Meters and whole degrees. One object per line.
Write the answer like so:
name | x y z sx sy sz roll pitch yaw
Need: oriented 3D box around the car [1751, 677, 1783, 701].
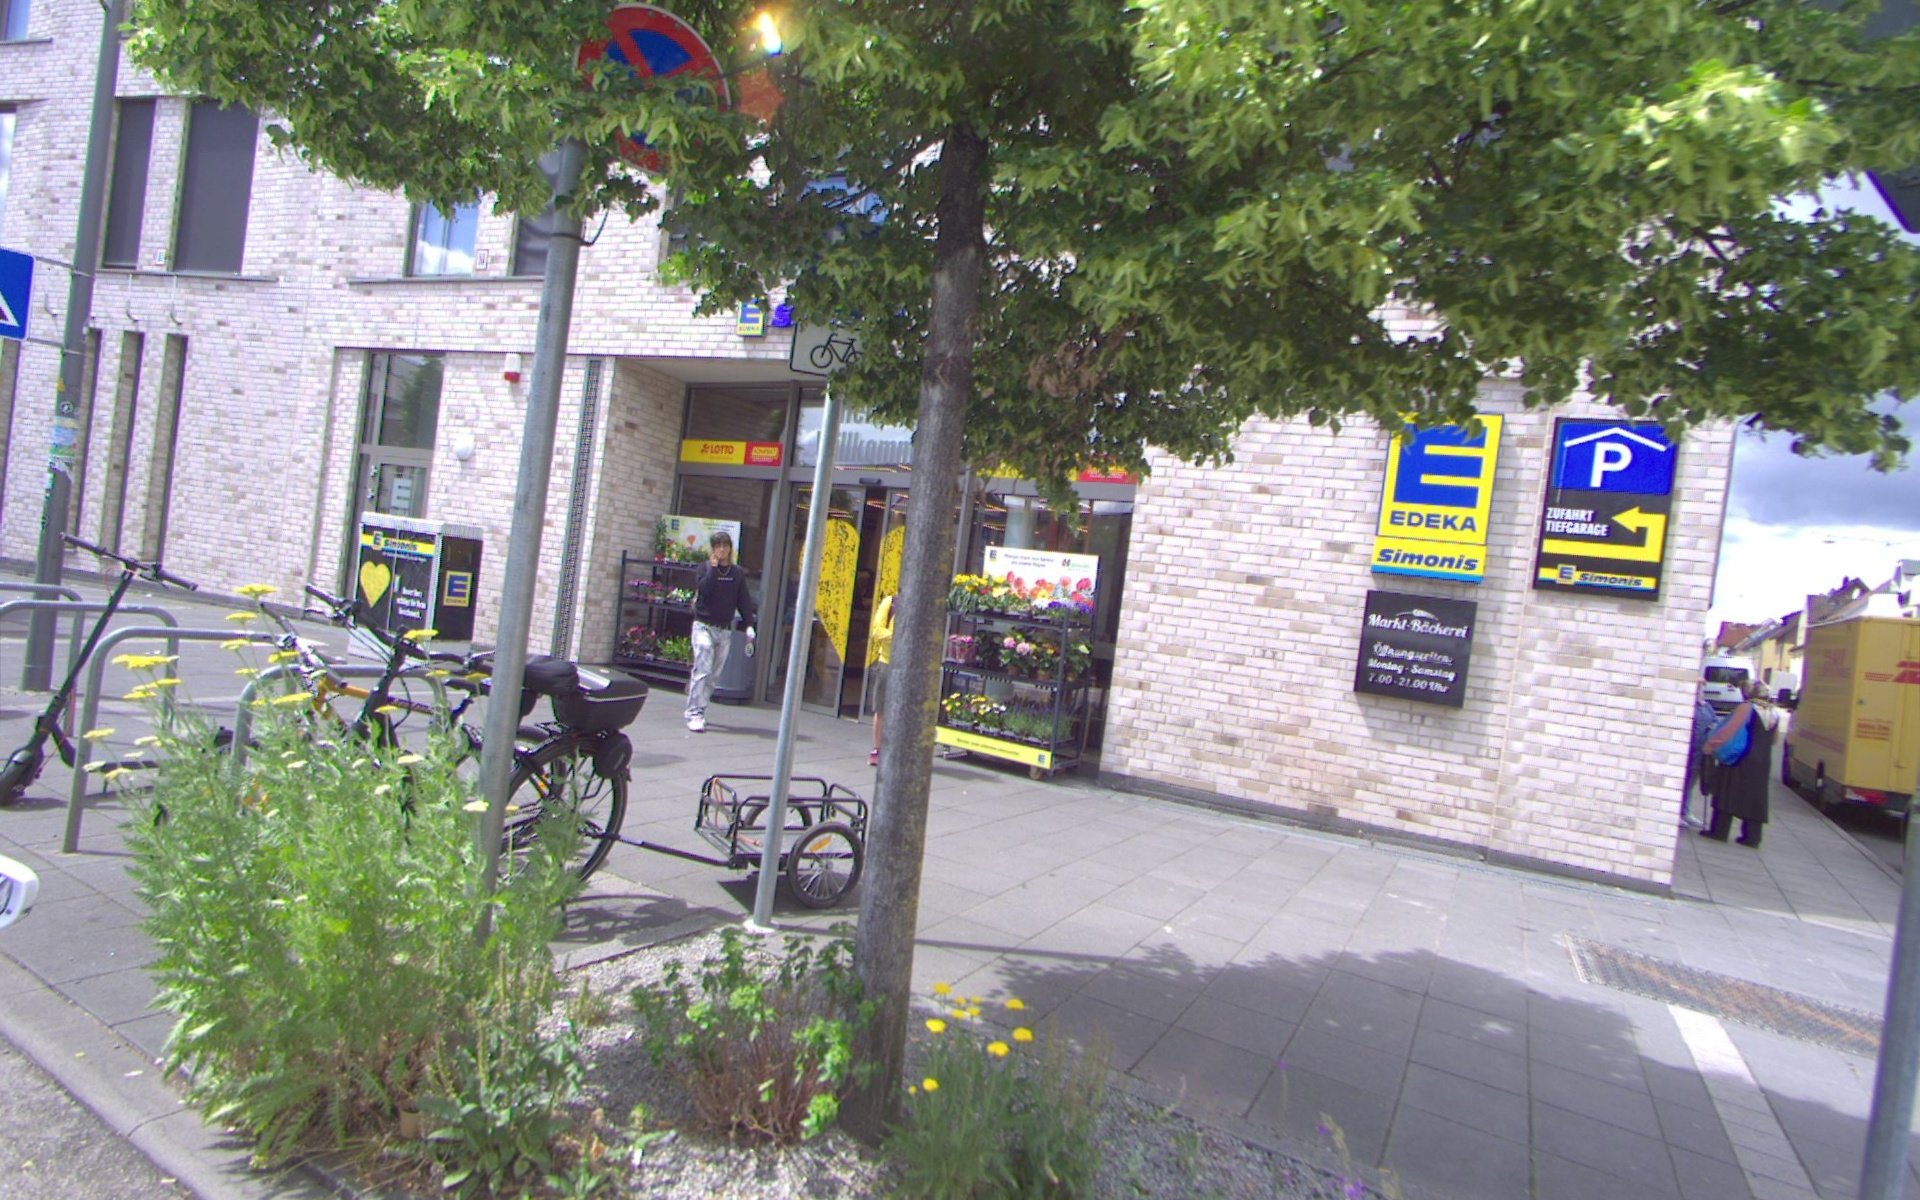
car | 64.087 7.064 79.910 1.606 1.663 3.764 7 1 35

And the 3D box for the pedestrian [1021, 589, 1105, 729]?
pedestrian | 1.372 0.781 13.352 0.727 1.746 0.661 6 -1 31

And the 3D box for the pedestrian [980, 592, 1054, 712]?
pedestrian | 0.856 0.789 15.186 0.650 1.713 0.680 7 1 41

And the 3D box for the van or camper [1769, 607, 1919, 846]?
van or camper | 13.653 1.709 14.520 2.241 2.771 6.854 5 1 34

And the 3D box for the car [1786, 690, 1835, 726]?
car | 47.907 6.043 56.700 1.606 1.663 3.764 7 1 35

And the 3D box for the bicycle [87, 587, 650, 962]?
bicycle | -2.305 0.609 4.200 0.743 1.145 1.824 7 1 30

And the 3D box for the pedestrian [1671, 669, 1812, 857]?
pedestrian | 7.668 1.574 9.893 0.800 1.690 0.556 6 -1 4

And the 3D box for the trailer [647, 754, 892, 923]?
trailer | -0.878 1.065 4.679 0.798 0.535 0.720 6 -1 34

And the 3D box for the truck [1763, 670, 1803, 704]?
truck | 59.182 6.236 72.395 1.606 2.162 5.371 7 1 35

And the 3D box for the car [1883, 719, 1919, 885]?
car | 9.319 1.949 8.114 1.753 1.496 3.899 7 1 29

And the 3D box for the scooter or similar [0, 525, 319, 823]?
scooter or similar | -3.972 0.340 4.958 0.485 1.265 1.197 7 1 30

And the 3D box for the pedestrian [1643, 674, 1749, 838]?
pedestrian | 7.689 1.611 10.530 0.592 1.591 0.523 6 -1 4

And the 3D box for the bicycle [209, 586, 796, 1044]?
bicycle | -1.544 0.649 3.769 0.743 1.216 1.824 7 1 30

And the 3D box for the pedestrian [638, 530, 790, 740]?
pedestrian | -2.259 0.313 9.248 1.000 1.763 0.658 7 1 29

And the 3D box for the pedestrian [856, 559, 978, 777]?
pedestrian | -0.369 0.556 8.430 0.651 1.713 0.627 6 1 -26

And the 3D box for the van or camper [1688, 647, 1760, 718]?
van or camper | 33.827 3.726 44.663 2.021 2.738 5.153 5 -2 34
